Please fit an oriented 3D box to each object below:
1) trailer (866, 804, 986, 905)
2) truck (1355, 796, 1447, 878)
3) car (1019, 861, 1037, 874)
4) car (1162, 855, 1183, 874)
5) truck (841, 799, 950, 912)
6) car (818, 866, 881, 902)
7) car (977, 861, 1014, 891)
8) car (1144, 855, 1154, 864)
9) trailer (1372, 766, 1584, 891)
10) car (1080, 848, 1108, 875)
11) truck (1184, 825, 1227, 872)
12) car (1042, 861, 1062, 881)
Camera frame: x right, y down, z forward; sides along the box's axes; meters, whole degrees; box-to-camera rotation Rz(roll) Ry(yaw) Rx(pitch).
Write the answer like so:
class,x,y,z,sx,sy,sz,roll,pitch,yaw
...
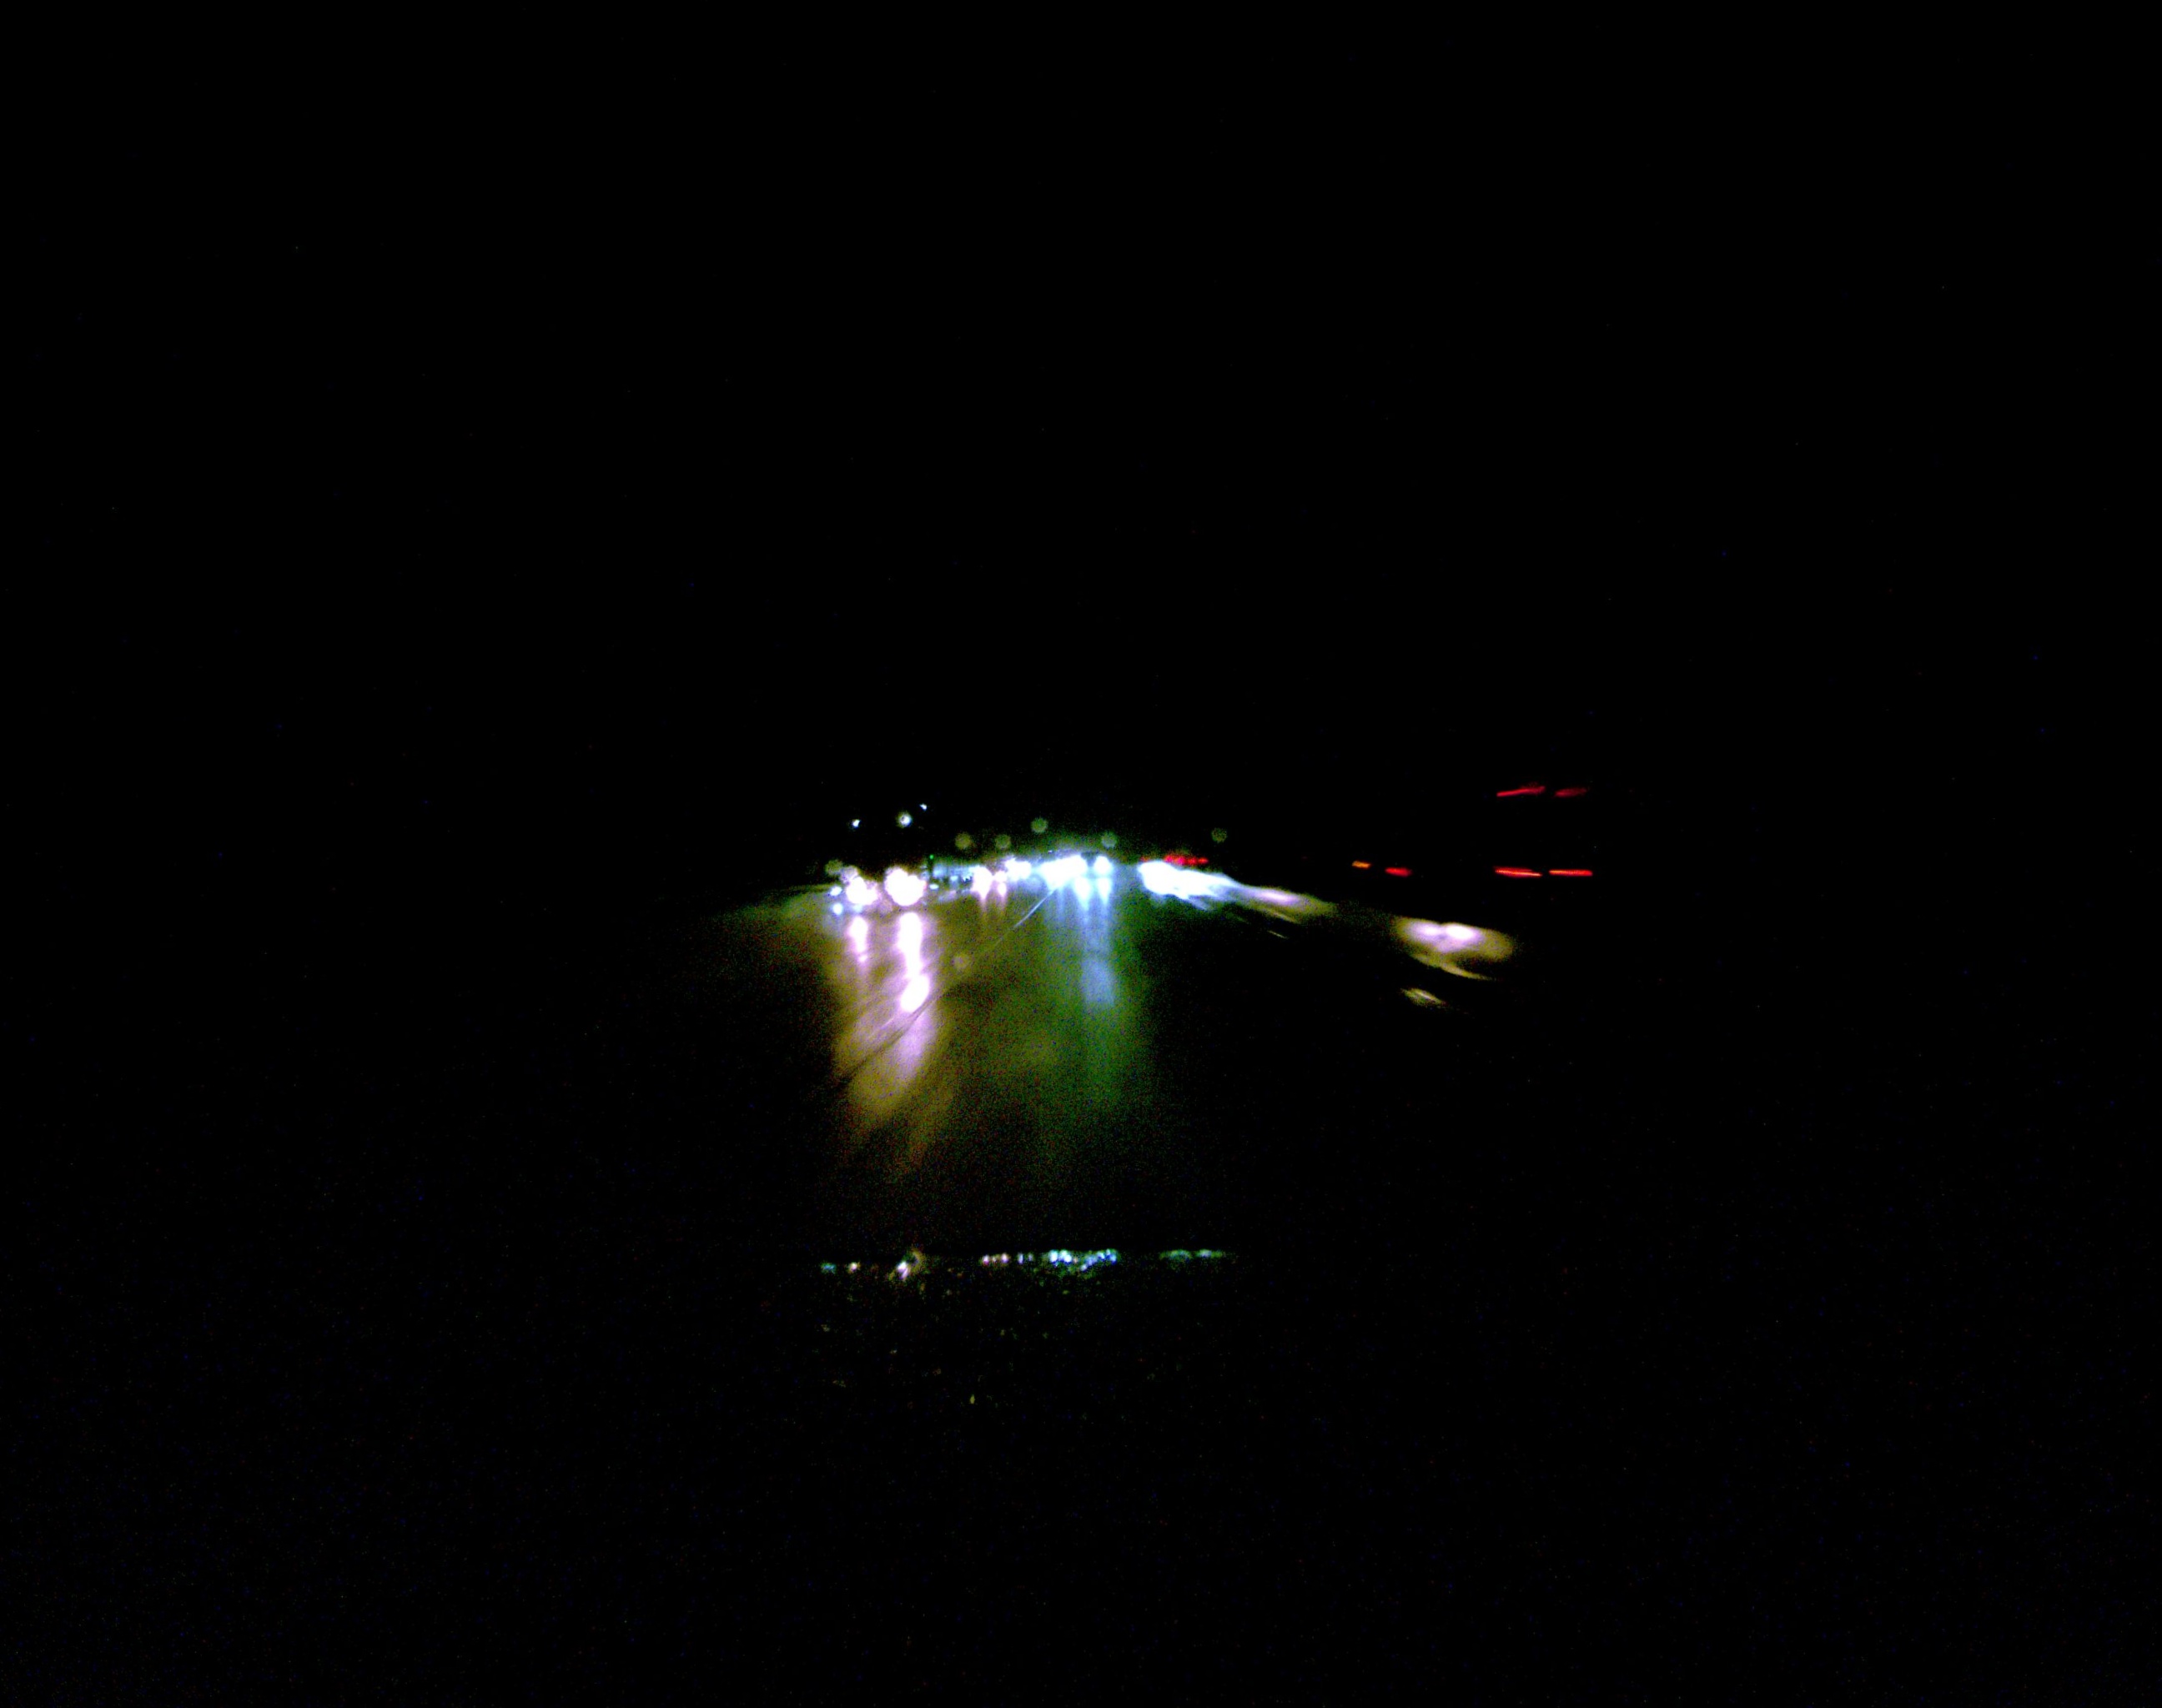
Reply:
class,x,y,z,sx,sy,sz,roll,pitch,yaw
trailer,-7.168,-0.045,37.794,2.746,3.955,13.817,-4,1,1
truck,17.648,-0.905,42.302,2.611,4.089,5.678,-4,1,1
car,-7.610,1.890,109.411,1.998,1.615,4.625,-4,1,1
car,9.965,1.103,82.877,1.748,2.002,3.999,-2,0,-1
truck,-7.238,0.034,30.359,2.782,3.946,5.197,-4,1,1
car,-12.244,1.540,40.401,1.919,1.580,4.116,-4,1,1
car,-6.221,1.560,55.588,1.998,2.002,4.000,-2,0,2
car,16.015,1.332,179.712,1.998,2.002,3.999,-4,1,1
trailer,17.542,-1.029,35.390,2.629,4.519,13.720,-4,1,1
car,1.059,0.561,59.242,1.998,2.002,4.000,-2,0,2
truck,17.639,-0.862,109.050,3.337,6.068,16.621,-4,1,1
car,-3.272,1.907,87.454,1.998,2.002,4.000,-4,1,1
